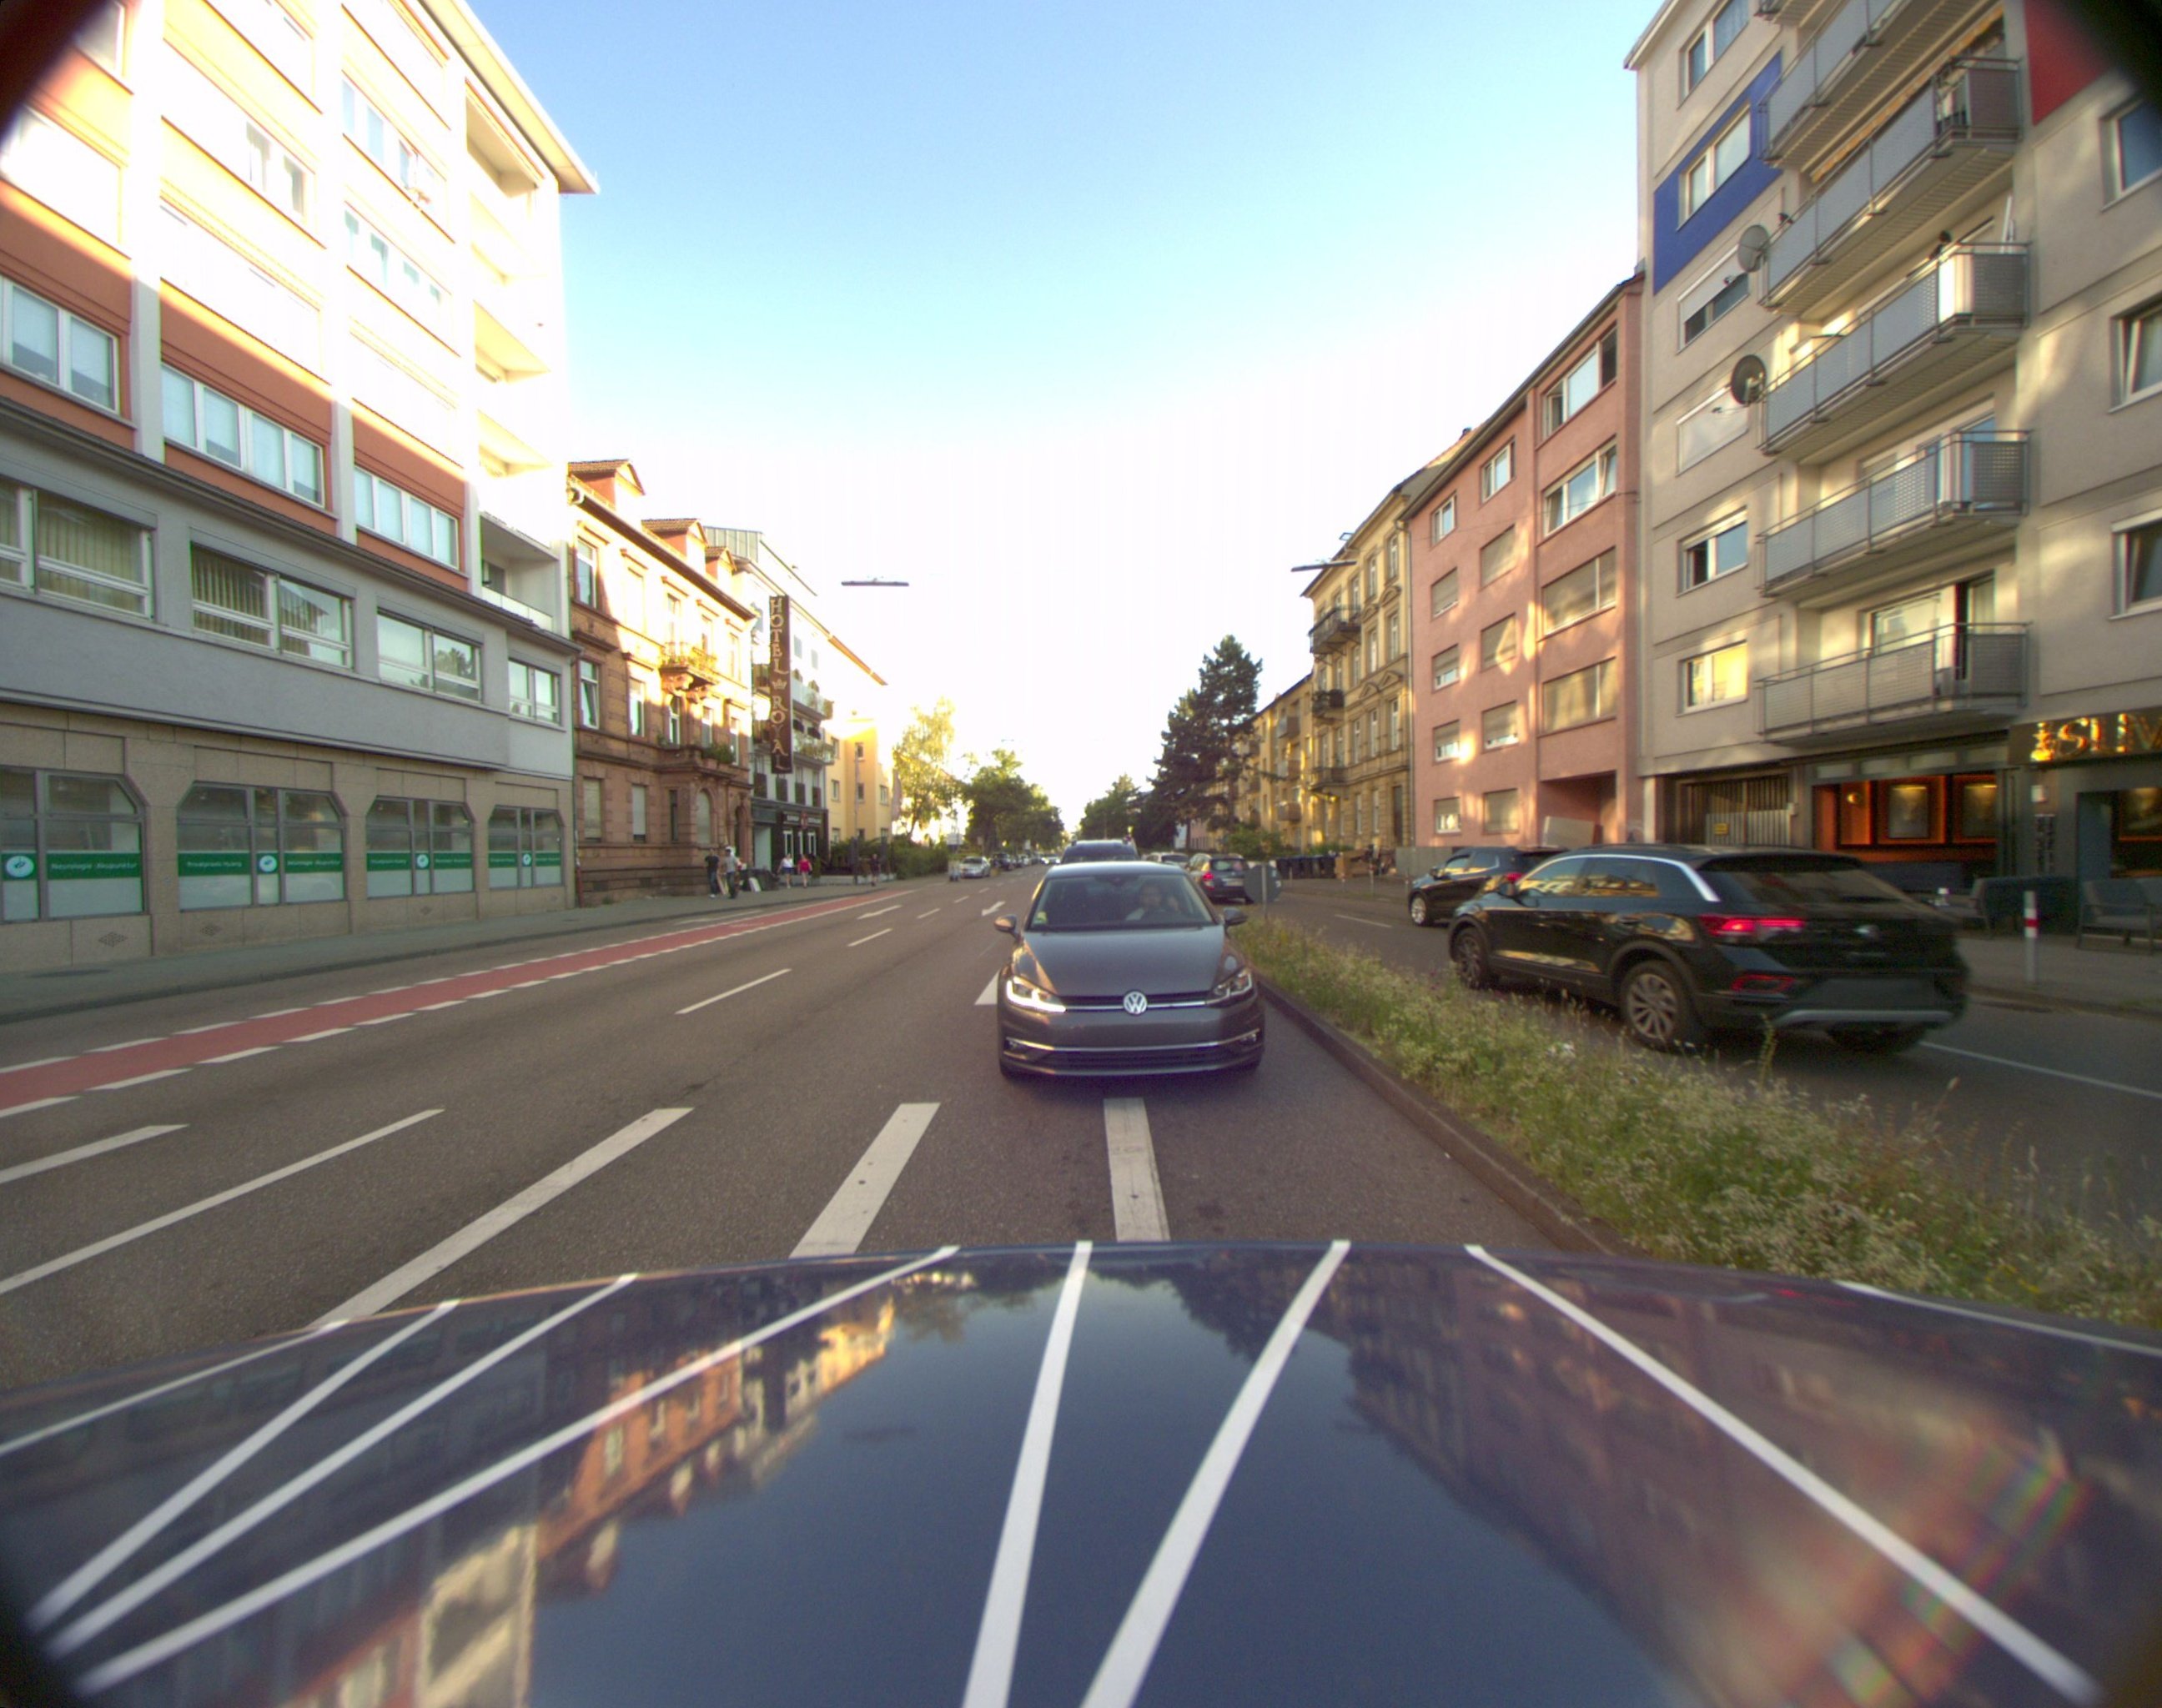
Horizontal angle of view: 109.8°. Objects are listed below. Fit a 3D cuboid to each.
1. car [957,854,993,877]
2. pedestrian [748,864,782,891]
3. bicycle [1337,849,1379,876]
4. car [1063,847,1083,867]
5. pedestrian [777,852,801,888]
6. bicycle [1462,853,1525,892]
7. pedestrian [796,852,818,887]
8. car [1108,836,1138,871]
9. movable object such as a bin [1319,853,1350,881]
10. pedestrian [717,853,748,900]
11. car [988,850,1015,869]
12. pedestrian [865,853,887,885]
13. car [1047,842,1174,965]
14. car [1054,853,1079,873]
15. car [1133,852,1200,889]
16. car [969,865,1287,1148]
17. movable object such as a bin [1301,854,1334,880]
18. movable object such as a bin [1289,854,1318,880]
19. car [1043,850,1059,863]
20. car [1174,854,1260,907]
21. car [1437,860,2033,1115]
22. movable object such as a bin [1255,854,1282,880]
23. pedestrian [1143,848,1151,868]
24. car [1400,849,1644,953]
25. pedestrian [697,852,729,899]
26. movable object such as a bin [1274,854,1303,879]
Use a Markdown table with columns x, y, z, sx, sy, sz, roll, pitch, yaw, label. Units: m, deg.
| x | y | z | sx | sy | sz | roll | pitch | yaw | label |
| --- | --- | --- | --- | --- | --- | --- | --- | --- | --- |
| -7.370 | 0.769 | 53.207 | 1.905 | 1.508 | 4.074 | -1 | 0 | 1 | car |
| -13.718 | 1.006 | 33.015 | 1.100 | 1.129 | 0.924 | -1 | 1 | -2 | pedestrian |
| 12.741 | 0.384 | 34.945 | 1.780 | 1.184 | 0.473 | -1 | 1 | -2 | bicycle |
| -0.806 | 0.231 | 73.184 | 1.895 | 1.843 | 4.699 | 0 | 0 | -1 | car |
| -13.572 | 0.738 | 35.271 | 0.789 | 1.579 | 1.008 | 2 | 1 | -32 | pedestrian |
| 13.147 | 0.590 | 24.243 | 1.780 | 1.184 | 0.473 | -1 | 1 | -2 | bicycle |
| -12.834 | 0.711 | 35.627 | 0.740 | 1.579 | 1.008 | 2 | 1 | -30 | pedestrian |
| 3.357 | -0.065 | 61.365 | 2.136 | 2.740 | 4.465 | 0 | 1 | 0 | car |
| 11.824 | 0.591 | 35.431 | 1.196 | 1.225 | 0.847 | -2 | 1 | -40 | movable object such as a bin |
| -12.882 | 0.819 | 28.114 | 0.668 | 1.716 | 1.011 | -1 | 1 | -1 | pedestrian |
| -7.152 | 0.474 | 69.000 | 1.947 | 1.615 | 4.193 | -1 | 0 | 0 | car |
| -10.383 | 0.734 | 38.521 | 0.738 | 1.593 | 1.011 | 2 | 1 | 4 | pedestrian |
| 0.436 | 0.724 | 13.614 | 1.895 | 1.843 | 4.466 | 0 | 1 | 0 | car |
| -1.130 | 0.669 | 58.248 | 1.596 | 1.533 | 3.402 | 0 | 1 | -6 | car |
| 3.615 | 0.668 | 32.861 | 1.758 | 1.479 | 4.244 | 0 | 0 | -10 | car |
| 0.299 | 0.912 | 6.491 | 1.770 | 1.450 | 4.269 | -2 | 1 | 1 | car |
| 11.251 | 0.603 | 36.176 | 1.295 | 1.225 | 0.926 | -2 | 1 | -40 | movable object such as a bin |
| 10.860 | 0.610 | 37.070 | 1.196 | 1.225 | 0.847 | -2 | 1 | -40 | movable object such as a bin |
| -3.841 | 0.315 | 98.983 | 1.907 | 1.532 | 3.999 | -1 | 1 | 0 | car |
| 4.056 | 0.747 | 23.326 | 1.597 | 1.462 | 3.983 | 0 | 0 | -5 | car |
| 4.988 | 0.841 | 6.726 | 1.680 | 1.535 | 4.102 | 0 | 0 | -1 | car |
| 9.468 | 0.650 | 38.271 | 0.847 | 1.225 | 1.196 | 0 | 1 | 42 | movable object such as a bin |
| 5.124 | 0.315 | 58.999 | 0.577 | 1.591 | 0.481 | -1 | 1 | 1 | pedestrian |
| 7.806 | 0.729 | 13.975 | 1.725 | 1.619 | 4.099 | 0 | 0 | -8 | car |
| -13.624 | 0.786 | 28.135 | 0.668 | 1.716 | 1.011 | -1 | 1 | -2 | pedestrian |
| 10.332 | 0.622 | 37.775 | 1.196 | 1.225 | 0.847 | -2 | 1 | -40 | movable object such as a bin |
